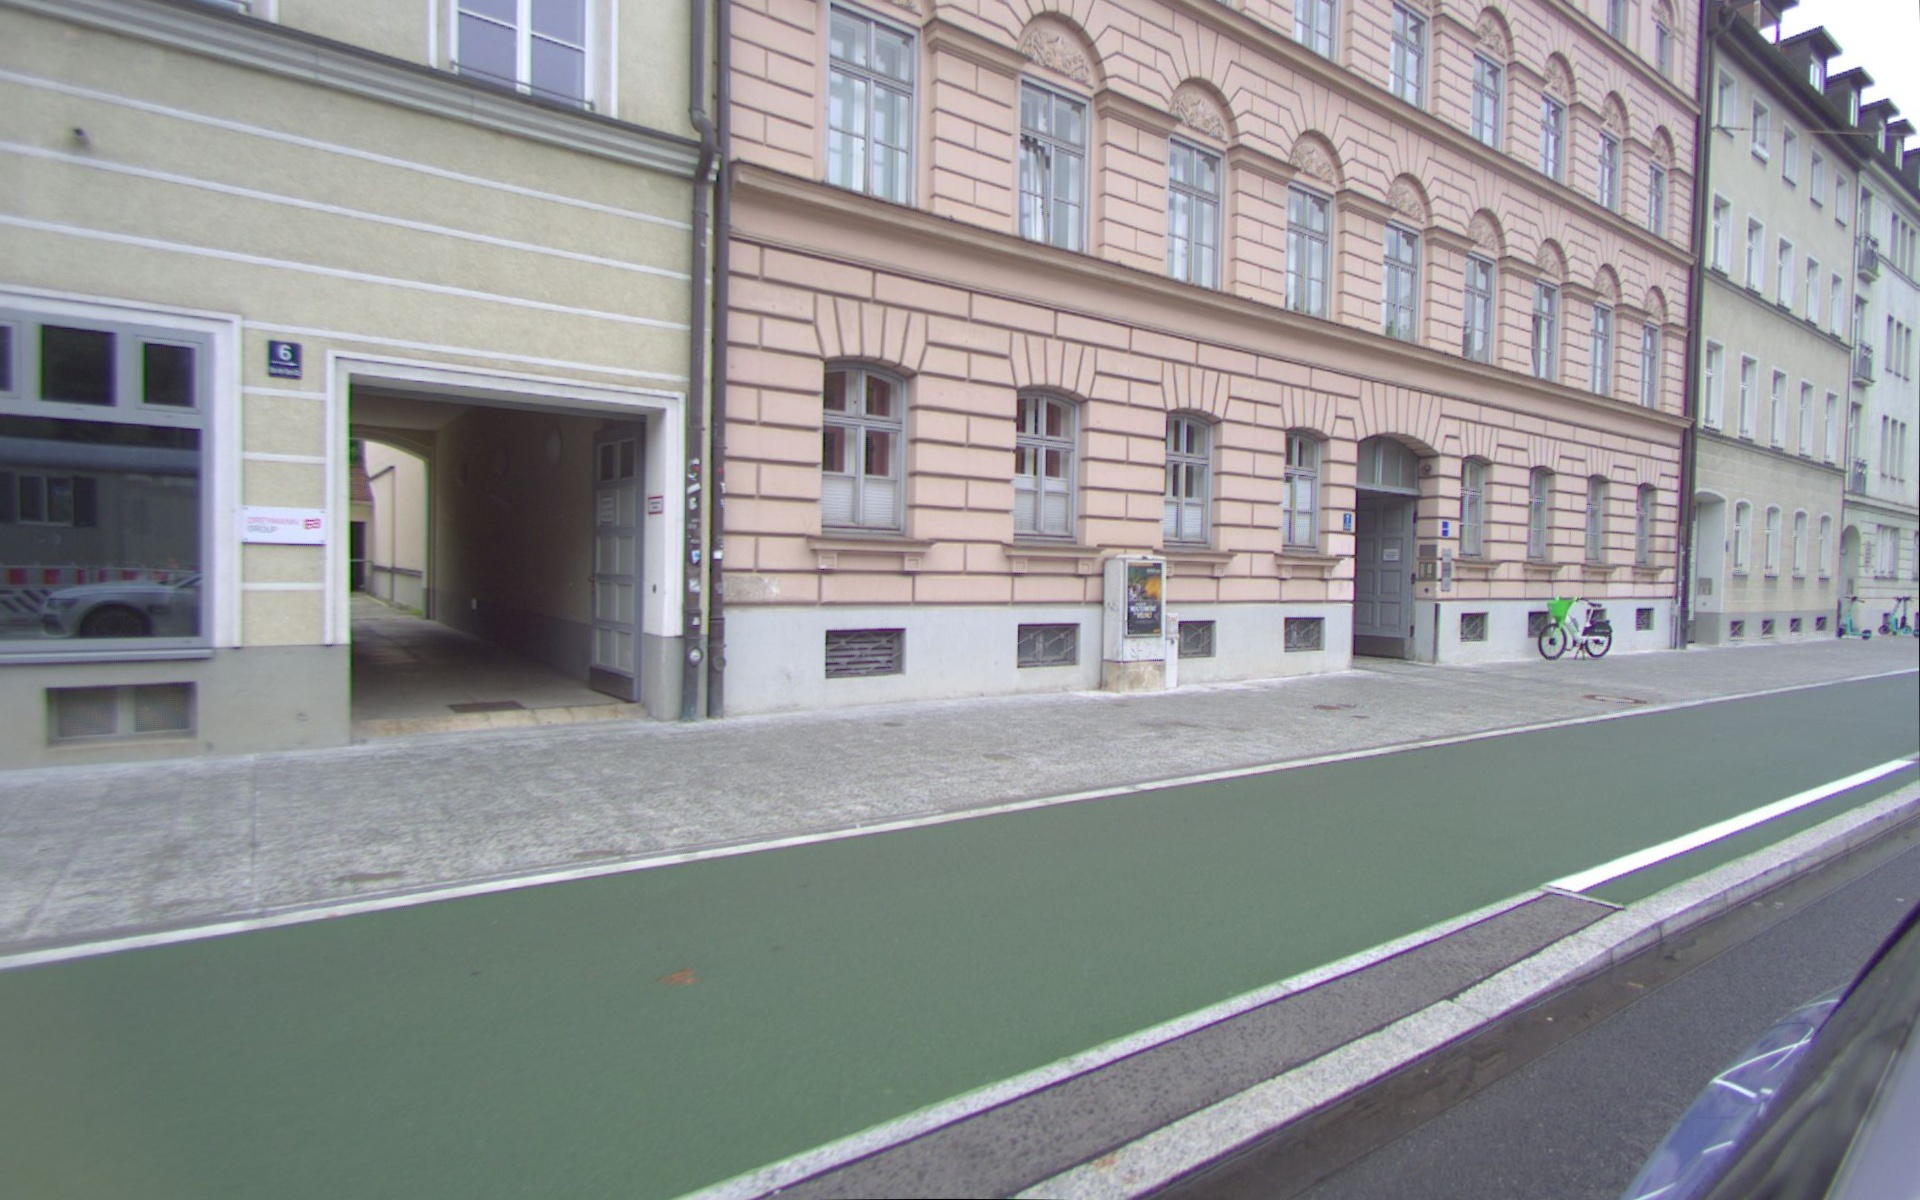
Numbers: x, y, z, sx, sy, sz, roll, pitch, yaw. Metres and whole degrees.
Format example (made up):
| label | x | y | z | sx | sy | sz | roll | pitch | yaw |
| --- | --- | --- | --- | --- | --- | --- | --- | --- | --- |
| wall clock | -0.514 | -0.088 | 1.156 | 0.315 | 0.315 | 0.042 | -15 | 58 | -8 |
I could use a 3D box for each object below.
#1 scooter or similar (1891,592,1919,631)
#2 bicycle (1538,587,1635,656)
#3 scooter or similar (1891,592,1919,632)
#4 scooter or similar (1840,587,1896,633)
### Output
| label | x | y | z | sx | sy | sz | roll | pitch | yaw |
| --- | --- | --- | --- | --- | --- | --- | --- | --- | --- |
| scooter or similar | 30.956 | 0.377 | 32.758 | 1.061 | 1.206 | 0.435 | 2 | 2 | 15 |
| bicycle | 11.409 | 0.390 | 18.425 | 1.689 | 1.191 | 0.559 | 1 | 2 | -21 |
| scooter or similar | 30.053 | 0.377 | 31.766 | 1.066 | 1.206 | 0.450 | 2 | 2 | 26 |
| scooter or similar | 26.132 | 0.289 | 29.137 | 1.056 | 1.260 | 0.554 | 2 | 2 | -1 |
